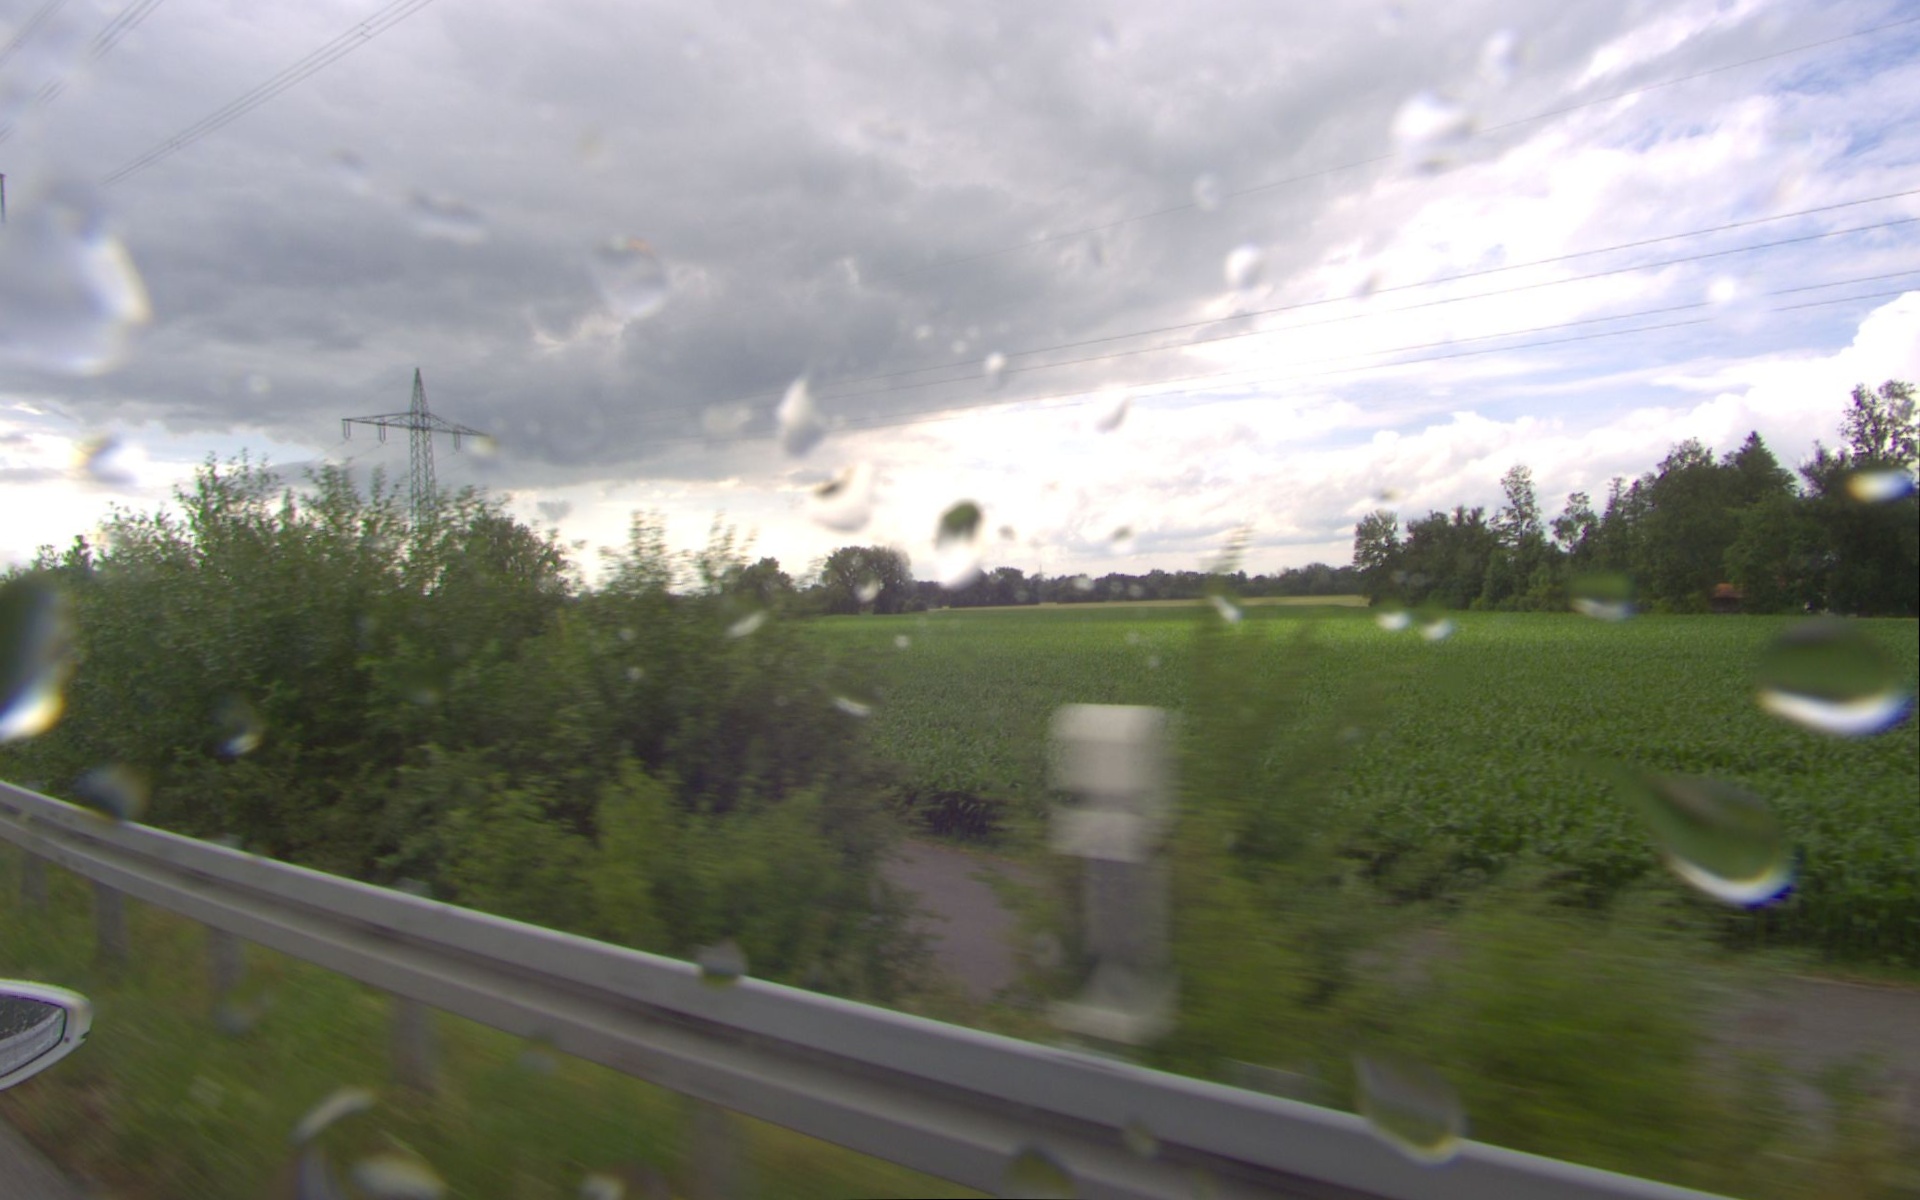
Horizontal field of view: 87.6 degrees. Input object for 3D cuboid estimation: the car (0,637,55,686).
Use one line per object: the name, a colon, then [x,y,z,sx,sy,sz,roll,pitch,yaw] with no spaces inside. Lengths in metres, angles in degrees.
car: [-43.047,2.767,45.690,2.102,2.044,5.492,-2,0,-38]
